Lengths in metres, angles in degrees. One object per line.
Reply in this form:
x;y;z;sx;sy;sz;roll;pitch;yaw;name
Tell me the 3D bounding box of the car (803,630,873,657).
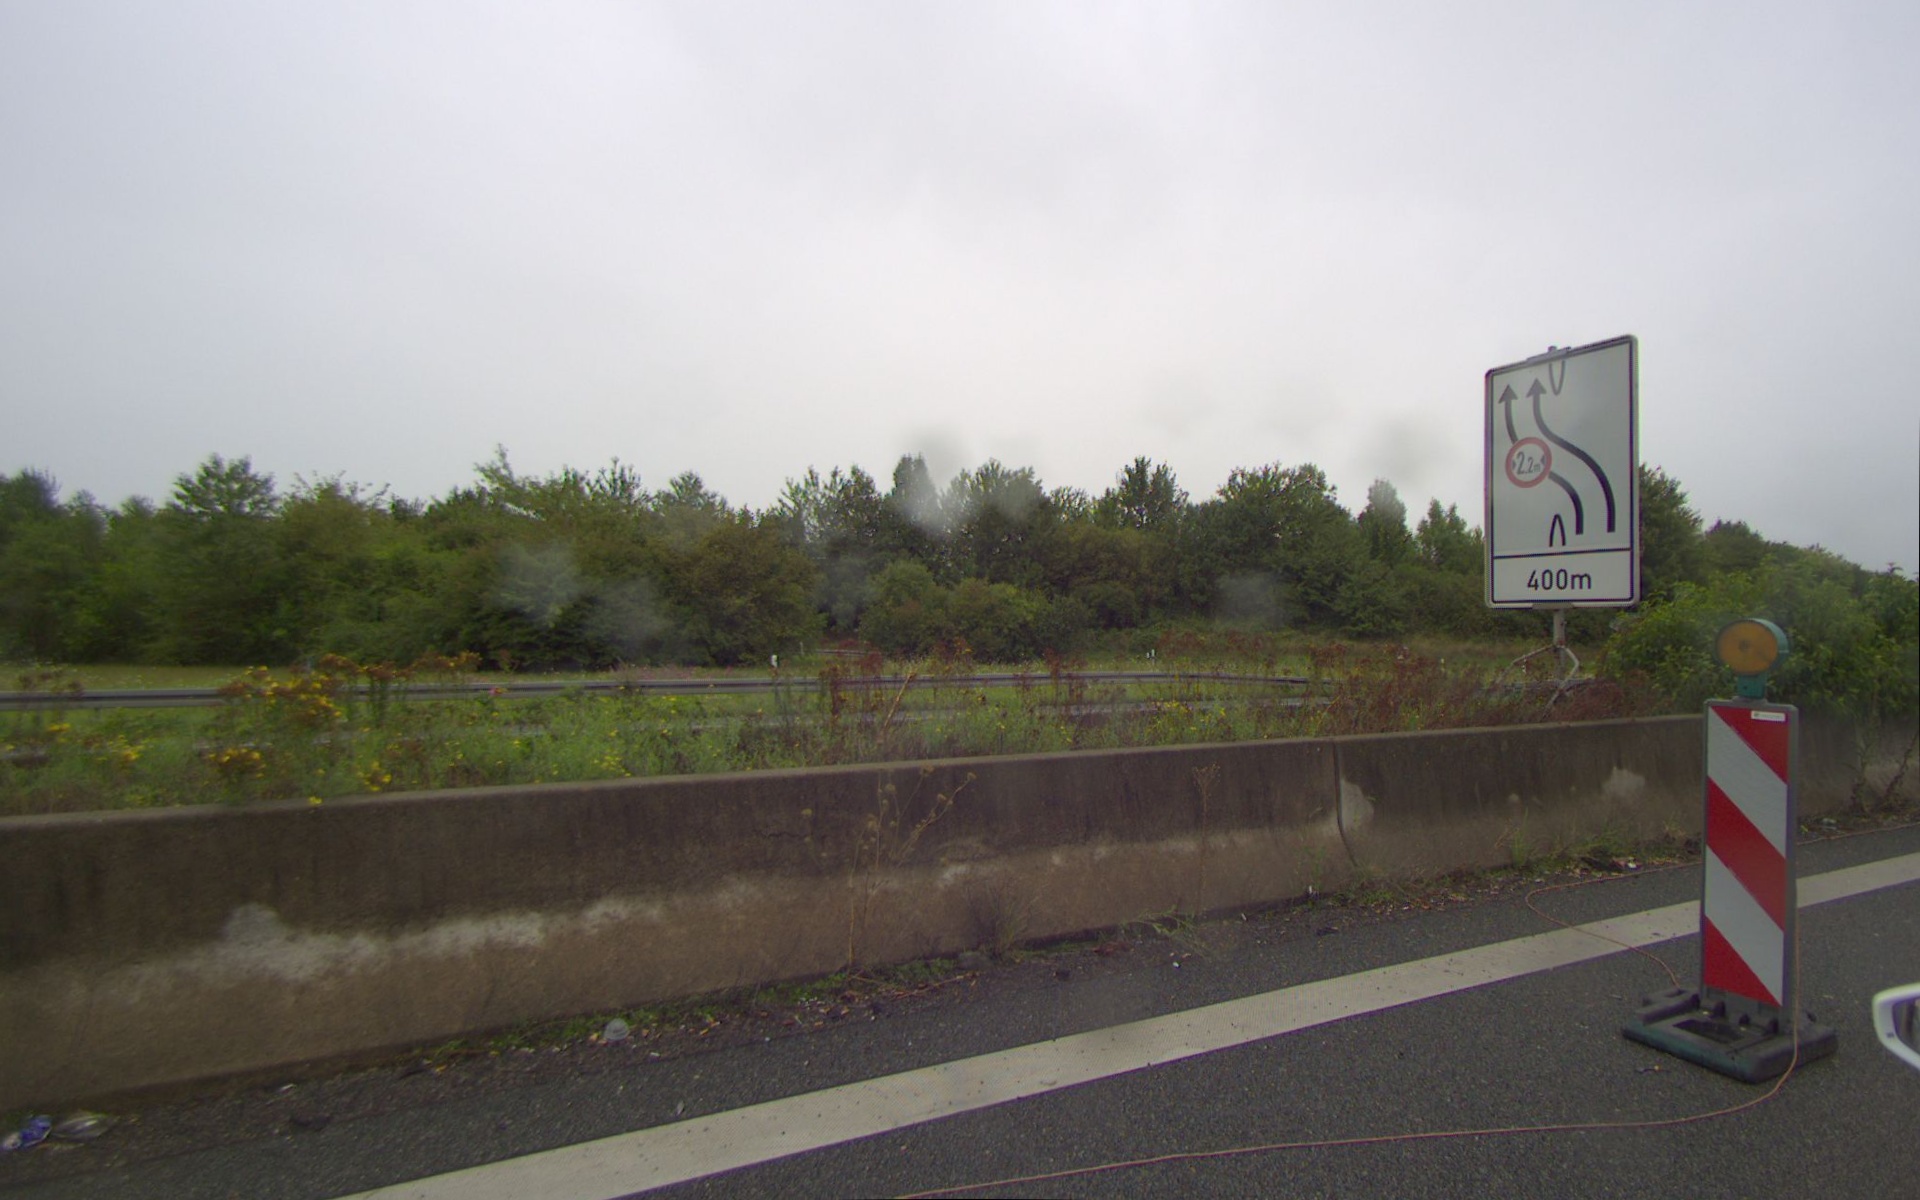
-7.275;2.574;60.096;3.835;1.550;1.705;0;-1;13;car
